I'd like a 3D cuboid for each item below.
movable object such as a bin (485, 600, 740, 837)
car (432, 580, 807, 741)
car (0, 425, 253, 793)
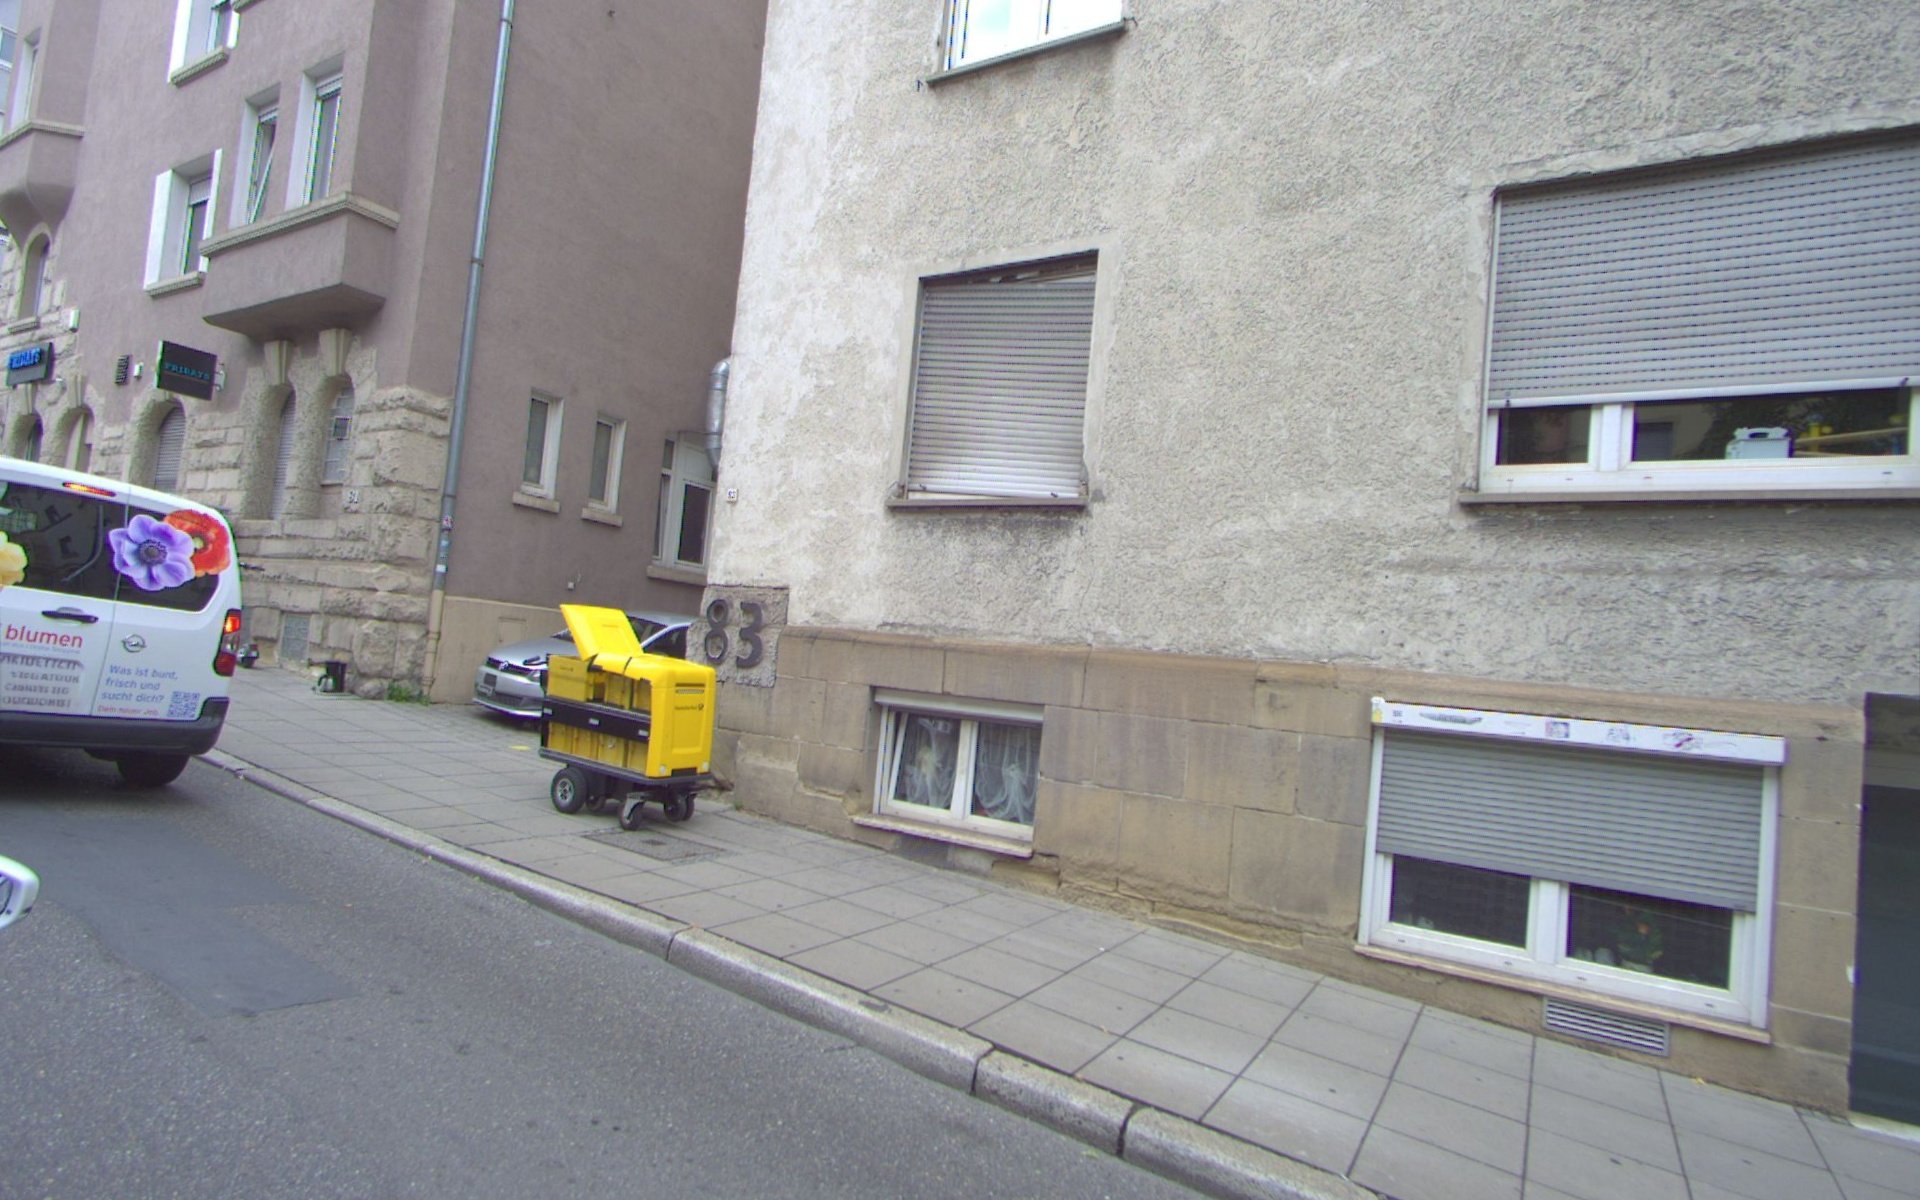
[{"bbox_3d":[-2.563,0.816,7.383,1.665,1.437,0.720,6,-1,30],"label":"movable object such as a bin"},{"bbox_3d":[-3.956,0.835,12.344,1.770,1.419,3.996,10,-2,32],"label":"car"},{"bbox_3d":[-6.802,-0.093,6.617,4.944,1.844,1.852,5,-4,36],"label":"car"}]
